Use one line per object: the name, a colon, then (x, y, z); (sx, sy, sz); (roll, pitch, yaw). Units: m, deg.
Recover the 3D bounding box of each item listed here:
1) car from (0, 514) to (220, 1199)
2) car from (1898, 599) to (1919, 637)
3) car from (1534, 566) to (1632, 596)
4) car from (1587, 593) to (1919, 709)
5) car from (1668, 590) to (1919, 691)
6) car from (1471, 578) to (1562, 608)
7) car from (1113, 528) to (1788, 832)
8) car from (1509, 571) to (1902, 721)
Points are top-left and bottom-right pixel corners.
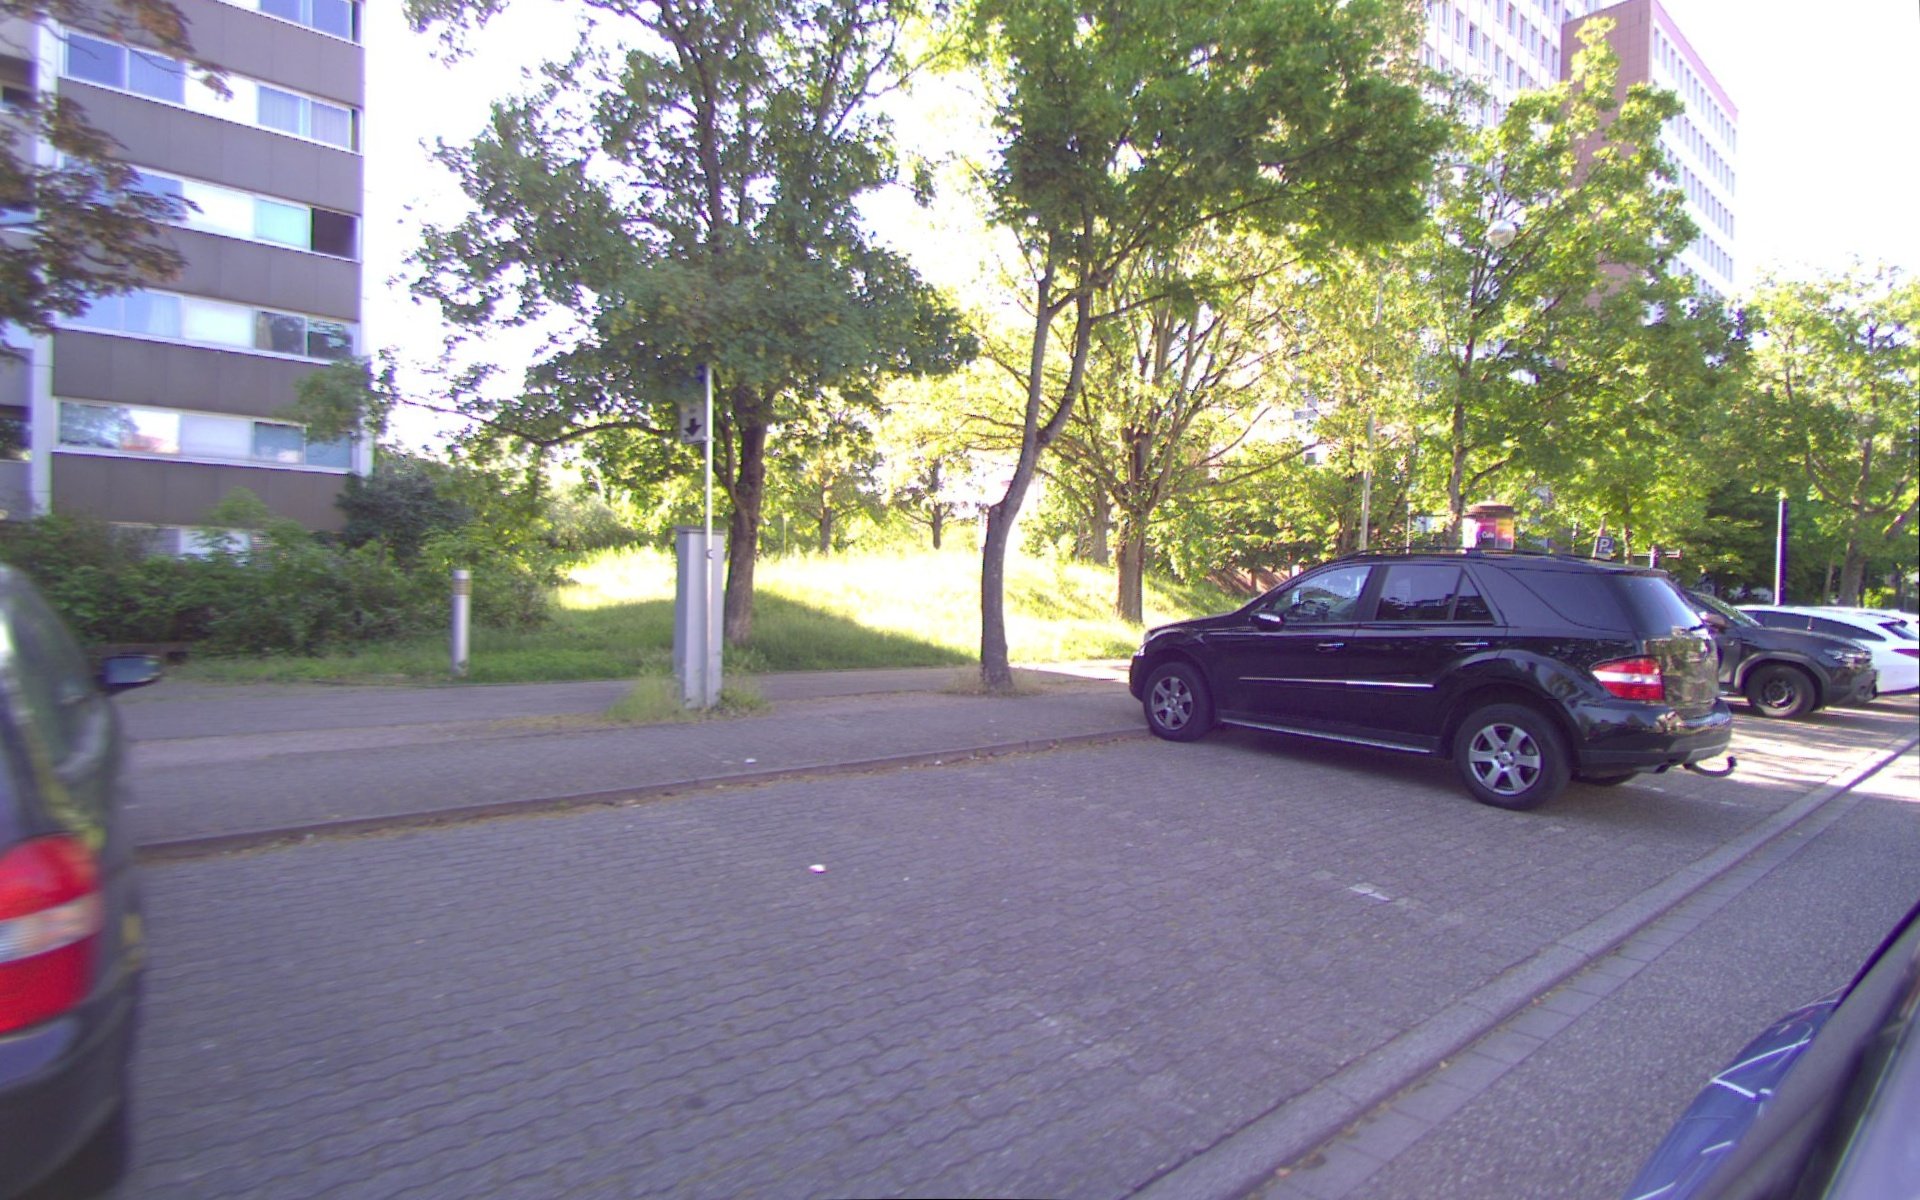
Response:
car: (-3.279, 0.475, 2.734); (1.790, 1.403, 3.997); (1, 4, -40)
car: (40.413, 0.881, 40.652); (1.565, 1.464, 3.842); (3, 3, -43)
car: (37.599, -1.161, 61.183); (1.845, 1.707, 4.720); (1, 1, -44)
car: (12.713, 0.704, 16.018); (1.786, 1.564, 4.448); (0, 1, -42)
car: (17.069, 0.738, 20.231); (1.806, 1.612, 4.434); (0, 3, -43)
car: (31.610, -0.396, 57.534); (4.226, 1.525, 1.697); (3, 2, 44)
car: (3.689, 0.354, 8.406); (1.965, 1.800, 4.598); (0, 3, -40)
car: (10.232, 0.487, 14.153); (1.704, 1.637, 4.125); (-1, 4, -42)
